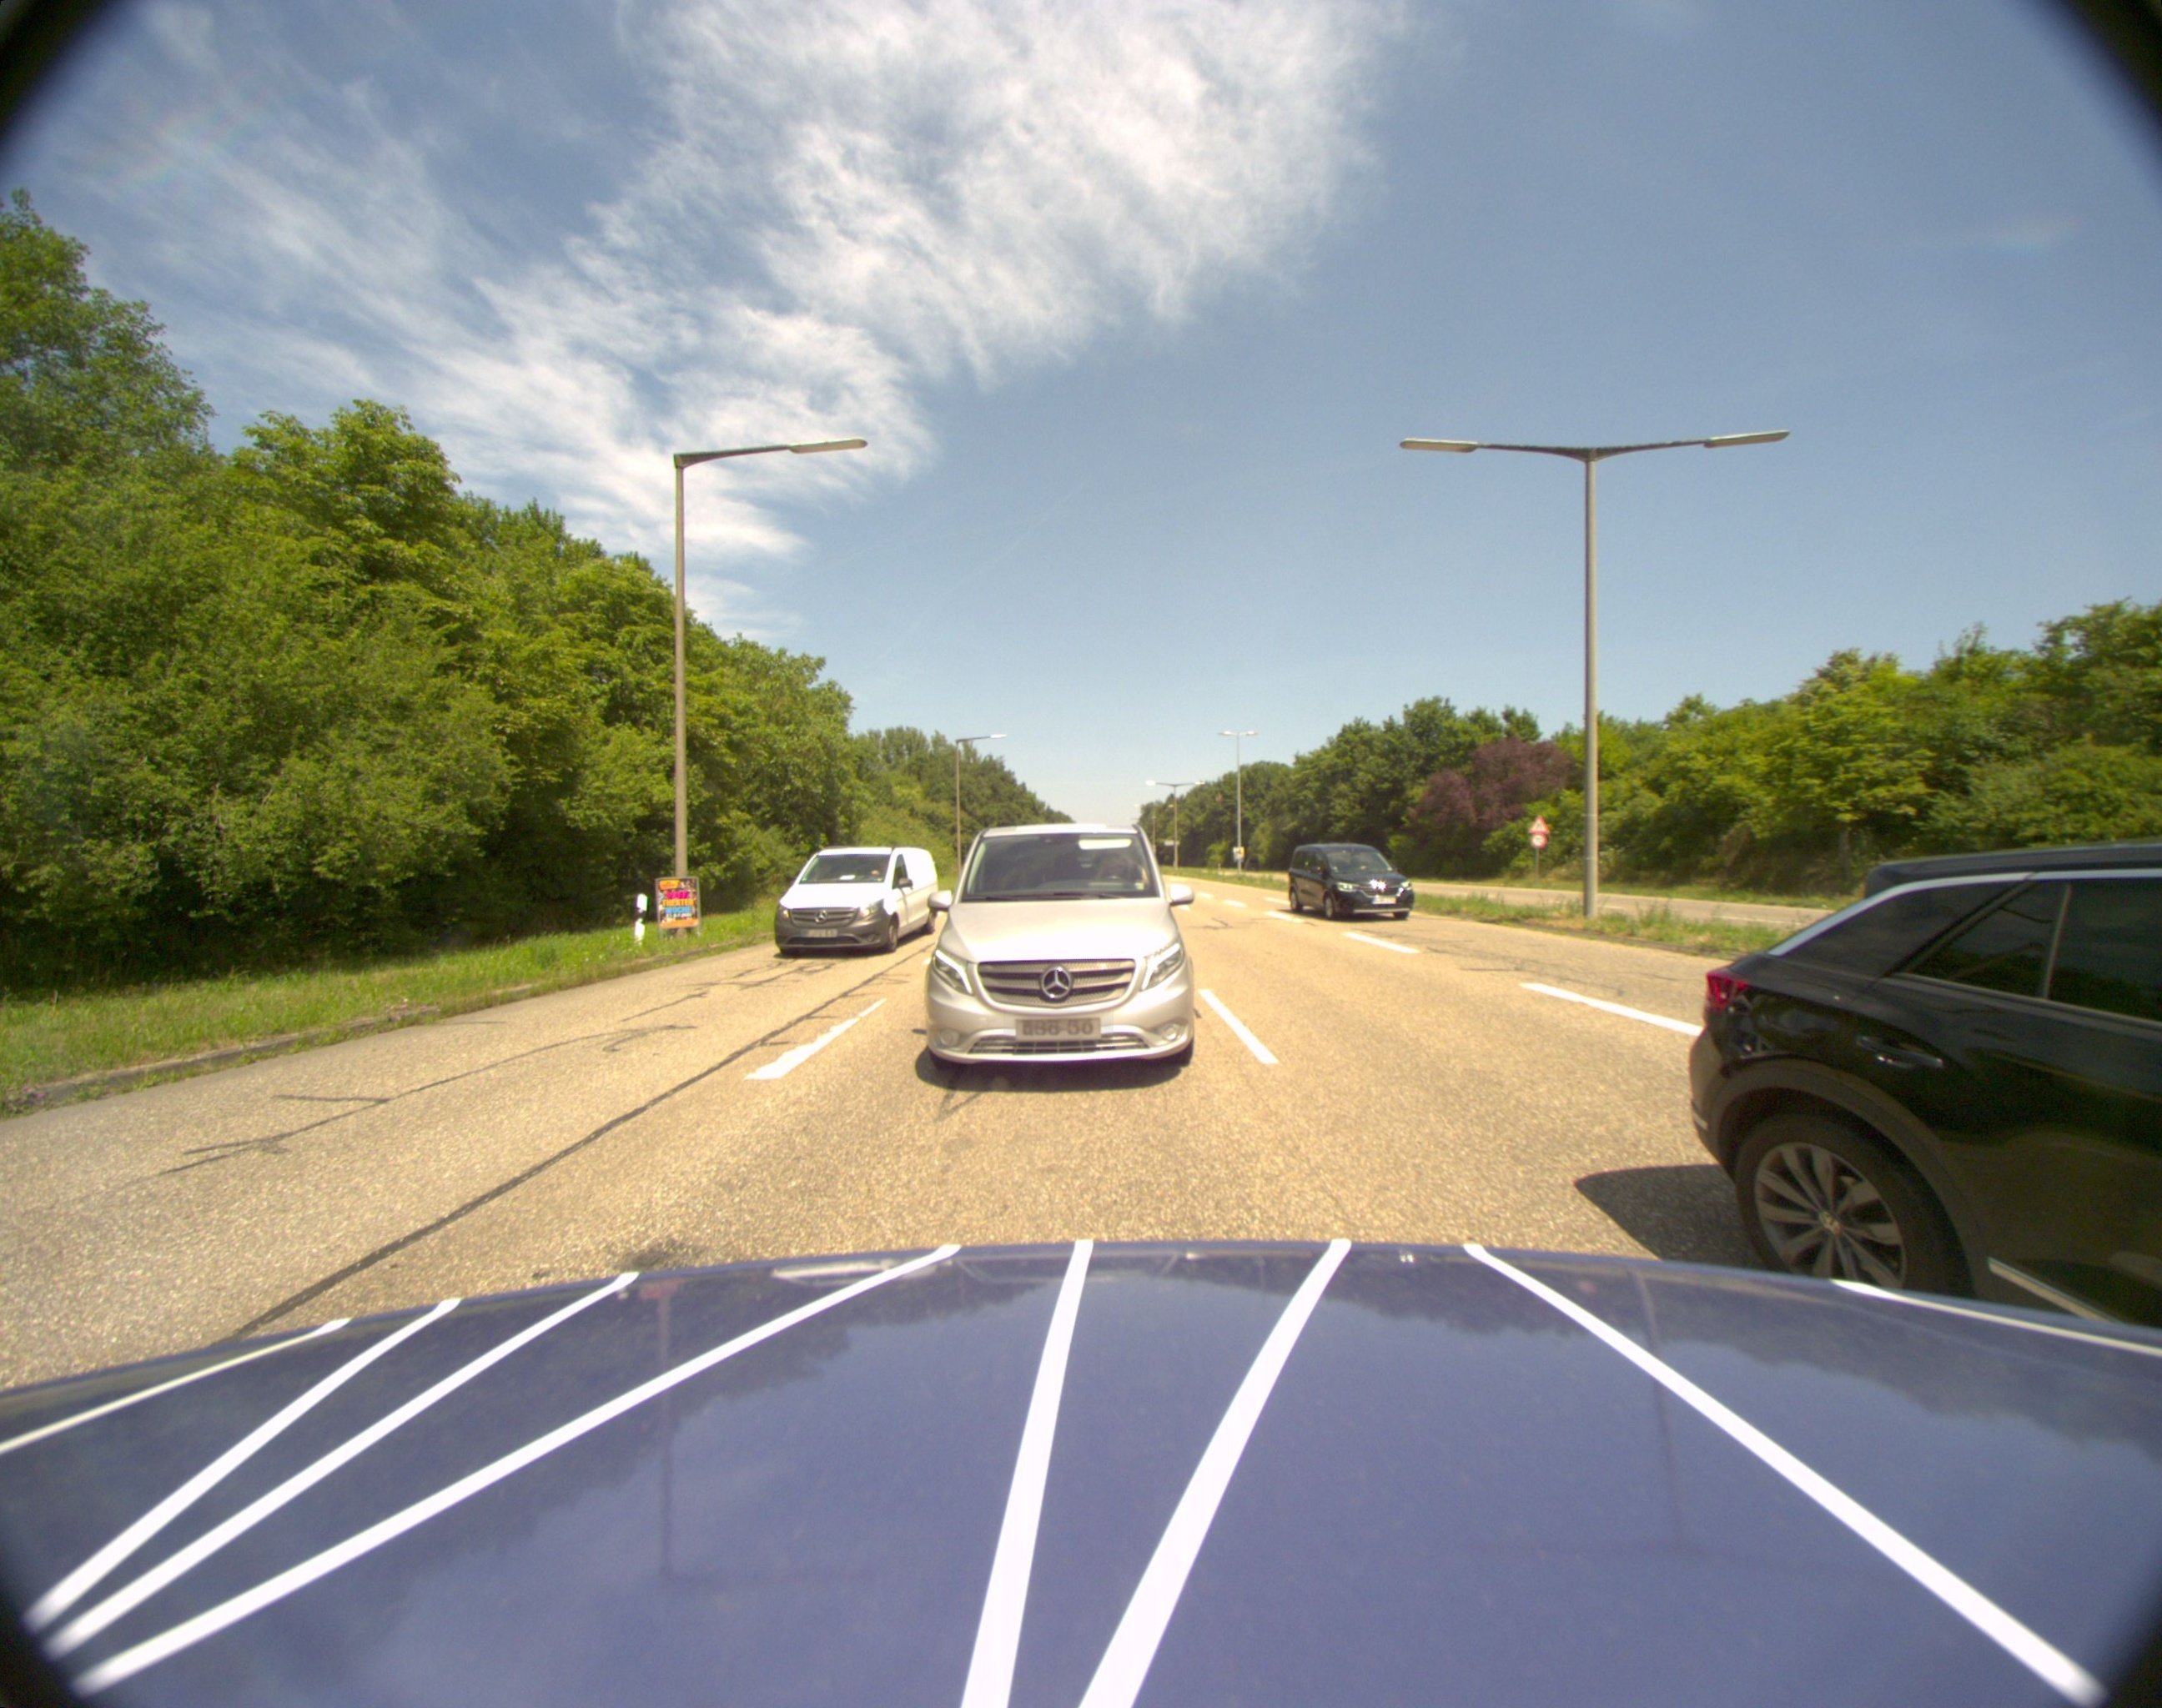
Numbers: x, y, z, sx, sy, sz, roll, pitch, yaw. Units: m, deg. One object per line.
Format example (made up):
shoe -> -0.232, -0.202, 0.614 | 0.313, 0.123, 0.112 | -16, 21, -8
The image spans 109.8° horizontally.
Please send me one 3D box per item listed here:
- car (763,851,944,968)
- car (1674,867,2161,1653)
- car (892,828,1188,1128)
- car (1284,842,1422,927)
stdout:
car -> -4.027, 0.880, 14.426 | 1.865, 1.807, 4.908 | -1, 0, 1
car -> 3.029, 0.851, 0.789 | 1.739, 1.503, 3.970 | -2, 1, 1
car -> -0.221, 0.768, 7.124 | 1.764, 1.794, 4.855 | -2, 0, 1
car -> 6.471, 0.660, 18.617 | 1.736, 1.815, 4.321 | -1, 0, -1
